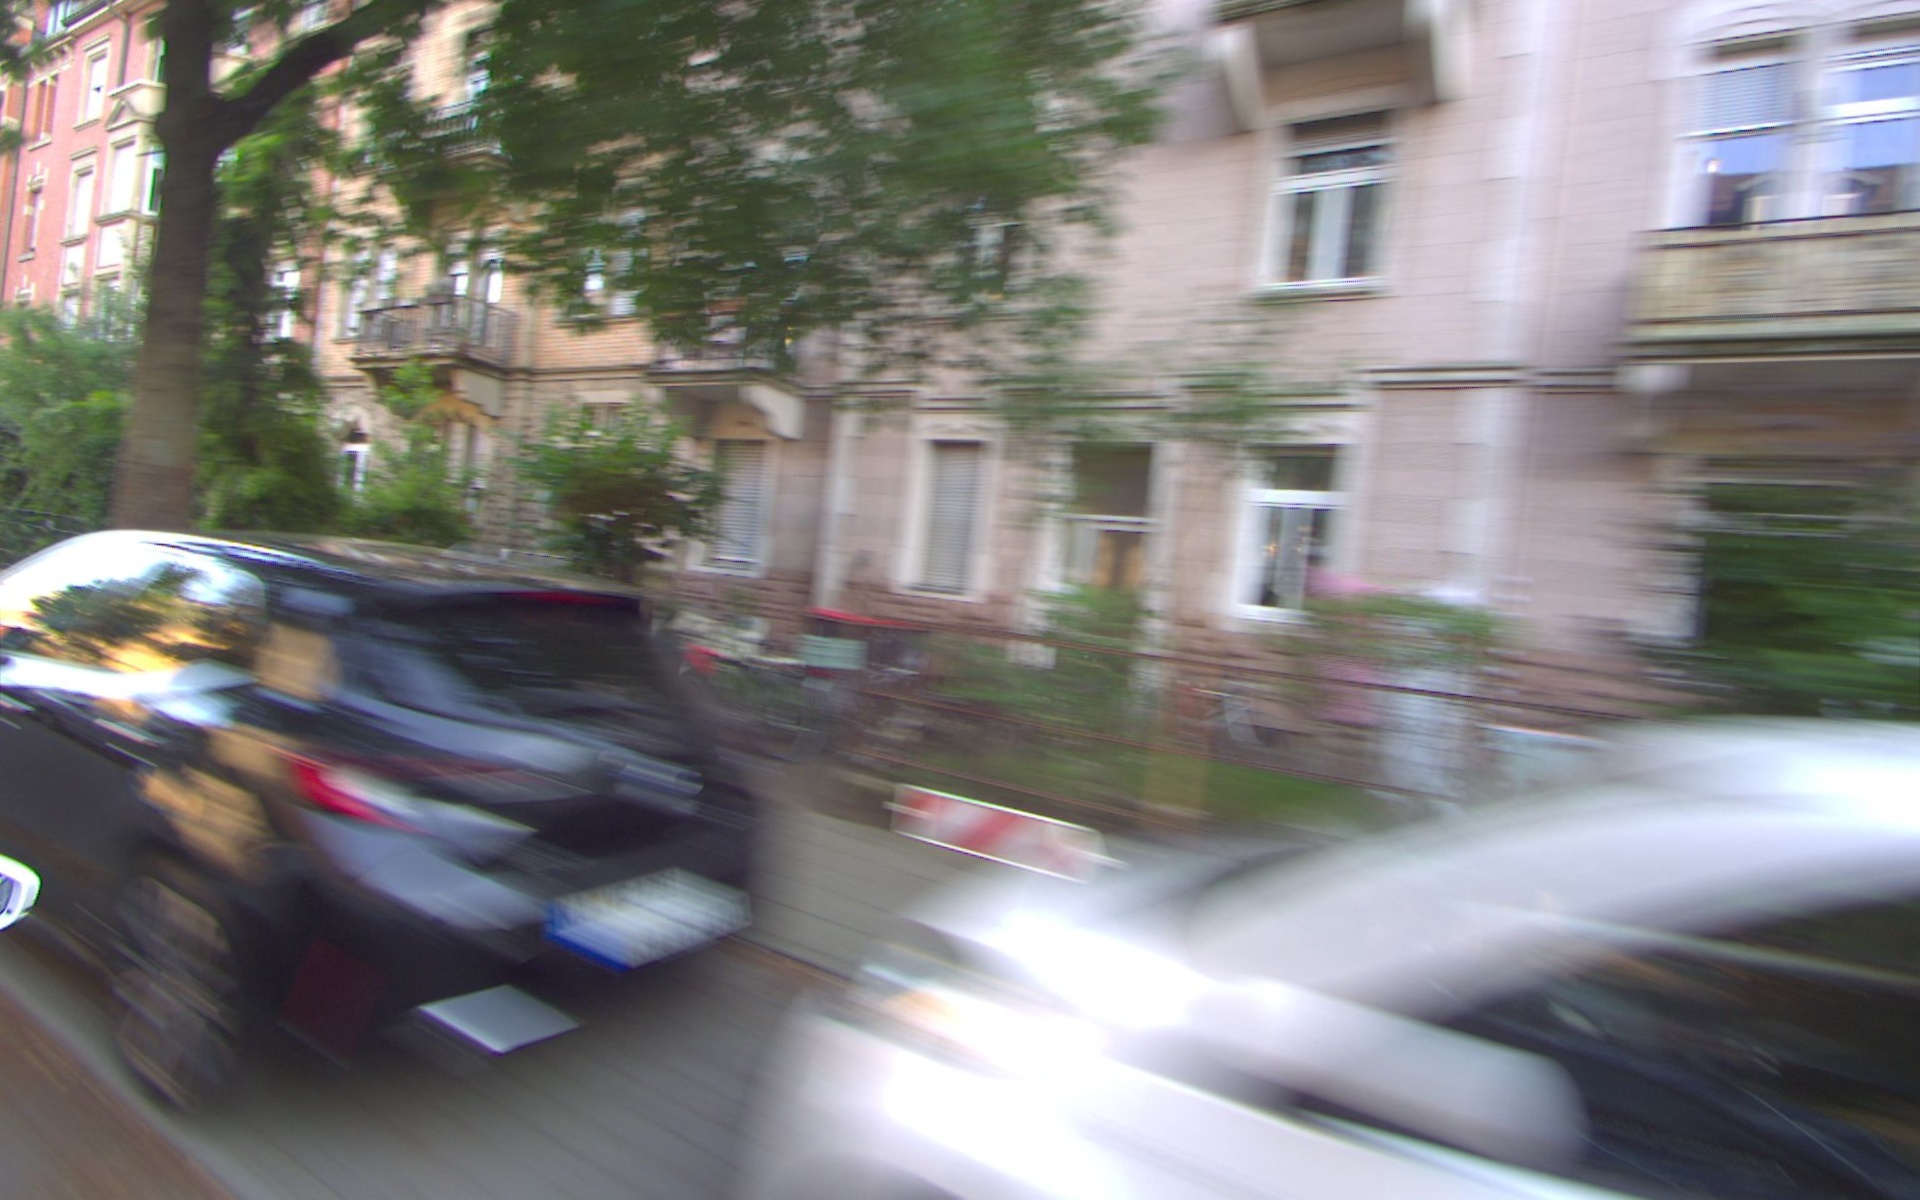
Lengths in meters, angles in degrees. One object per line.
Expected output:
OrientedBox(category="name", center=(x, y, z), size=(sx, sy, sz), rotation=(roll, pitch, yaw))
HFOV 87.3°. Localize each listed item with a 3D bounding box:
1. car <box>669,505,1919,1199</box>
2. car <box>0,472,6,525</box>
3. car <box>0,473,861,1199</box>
OrientedBox(category="car", center=(1.523, 0.876, 1.566), size=(3.686, 1.625, 1.689), rotation=(6, -1, 31))
OrientedBox(category="car", center=(-9.259, -0.378, 7.923), size=(3.878, 1.625, 1.688), rotation=(6, -1, 35))
OrientedBox(category="car", center=(-2.590, 0.376, 3.804), size=(4.140, 1.460, 1.688), rotation=(6, 1, 31))
